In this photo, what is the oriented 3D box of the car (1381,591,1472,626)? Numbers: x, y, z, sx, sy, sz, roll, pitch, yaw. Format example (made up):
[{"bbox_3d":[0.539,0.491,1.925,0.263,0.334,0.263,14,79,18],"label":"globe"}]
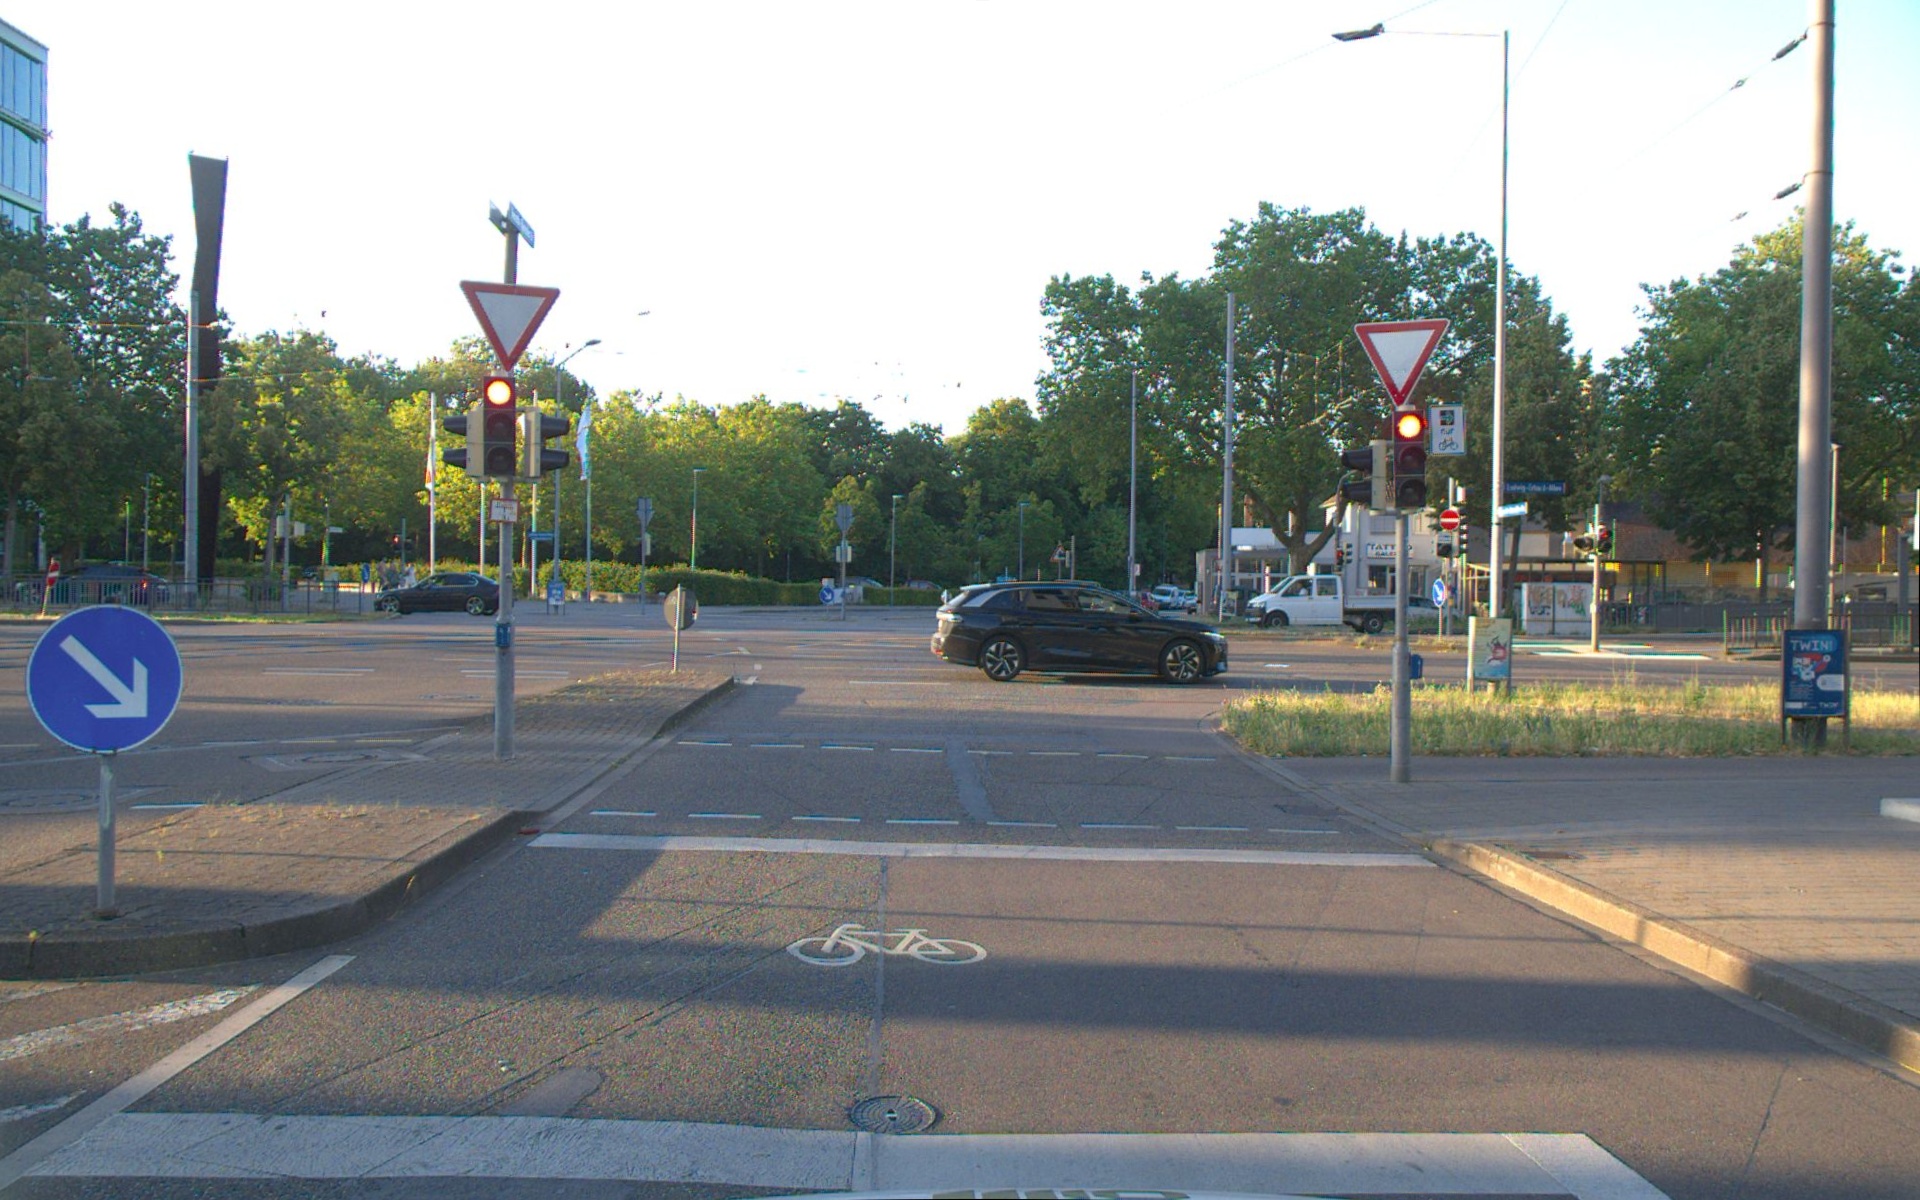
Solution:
[{"bbox_3d":[20.414,0.384,72.533,3.659,1.465,1.665,1,-1,9],"label":"car"}]

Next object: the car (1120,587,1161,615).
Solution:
[{"bbox_3d":[11.317,0.090,103.531,1.951,1.691,4.003,0,-1,14],"label":"car"}]

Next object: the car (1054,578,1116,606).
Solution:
[{"bbox_3d":[9.505,-0.596,126.016,4.675,2.041,2.000,1,-1,1],"label":"car"}]

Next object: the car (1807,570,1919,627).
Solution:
[{"bbox_3d":[43.645,-0.076,78.692,5.476,2.596,2.231,1,0,7],"label":"car"}]

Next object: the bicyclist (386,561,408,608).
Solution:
[{"bbox_3d":[-21.391,-0.589,62.816,0.740,1.739,0.914,1,0,-23],"label":"bicyclist"}]

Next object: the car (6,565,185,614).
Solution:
[{"bbox_3d":[-29.443,-0.339,56.443,4.997,1.579,1.999,1,-1,-2],"label":"car"}]

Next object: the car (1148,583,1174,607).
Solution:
[{"bbox_3d":[15.995,-0.369,131.426,1.823,1.825,4.003,1,-1,10],"label":"car"}]

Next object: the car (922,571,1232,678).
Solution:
[{"bbox_3d":[1.847,0.385,27.088,4.812,1.643,1.998,1,0,-5],"label":"car"}]

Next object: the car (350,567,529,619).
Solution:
[{"bbox_3d":[-16.749,-0.220,53.408,5.119,1.579,1.999,1,-1,-2],"label":"car"}]

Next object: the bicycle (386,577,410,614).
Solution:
[{"bbox_3d":[-21.317,-0.200,62.692,0.720,1.364,2.673,1,1,-22],"label":"bicycle"}]

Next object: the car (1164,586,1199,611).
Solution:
[{"bbox_3d":[15.552,-0.069,115.823,1.951,1.691,4.003,0,-1,14],"label":"car"}]

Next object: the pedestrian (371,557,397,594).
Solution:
[{"bbox_3d":[-27.848,-1.185,80.021,0.843,1.774,0.829,1,0,26],"label":"pedestrian"}]

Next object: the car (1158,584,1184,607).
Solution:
[{"bbox_3d":[17.403,-0.359,136.342,1.823,1.825,4.003,0,-1,12],"label":"car"}]

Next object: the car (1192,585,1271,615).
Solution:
[{"bbox_3d":[14.652,0.021,89.378,4.129,1.579,2.001,1,-1,7],"label":"car"}]

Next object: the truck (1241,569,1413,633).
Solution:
[{"bbox_3d":[12.574,0.011,56.863,5.443,2.090,2.068,1,0,0],"label":"truck"}]

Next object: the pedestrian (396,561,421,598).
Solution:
[{"bbox_3d":[-27.081,-1.000,81.211,0.845,1.774,0.828,1,0,32],"label":"pedestrian"}]

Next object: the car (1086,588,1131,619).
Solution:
[{"bbox_3d":[8.619,0.216,95.801,1.951,1.691,4.003,0,-1,14],"label":"car"}]
